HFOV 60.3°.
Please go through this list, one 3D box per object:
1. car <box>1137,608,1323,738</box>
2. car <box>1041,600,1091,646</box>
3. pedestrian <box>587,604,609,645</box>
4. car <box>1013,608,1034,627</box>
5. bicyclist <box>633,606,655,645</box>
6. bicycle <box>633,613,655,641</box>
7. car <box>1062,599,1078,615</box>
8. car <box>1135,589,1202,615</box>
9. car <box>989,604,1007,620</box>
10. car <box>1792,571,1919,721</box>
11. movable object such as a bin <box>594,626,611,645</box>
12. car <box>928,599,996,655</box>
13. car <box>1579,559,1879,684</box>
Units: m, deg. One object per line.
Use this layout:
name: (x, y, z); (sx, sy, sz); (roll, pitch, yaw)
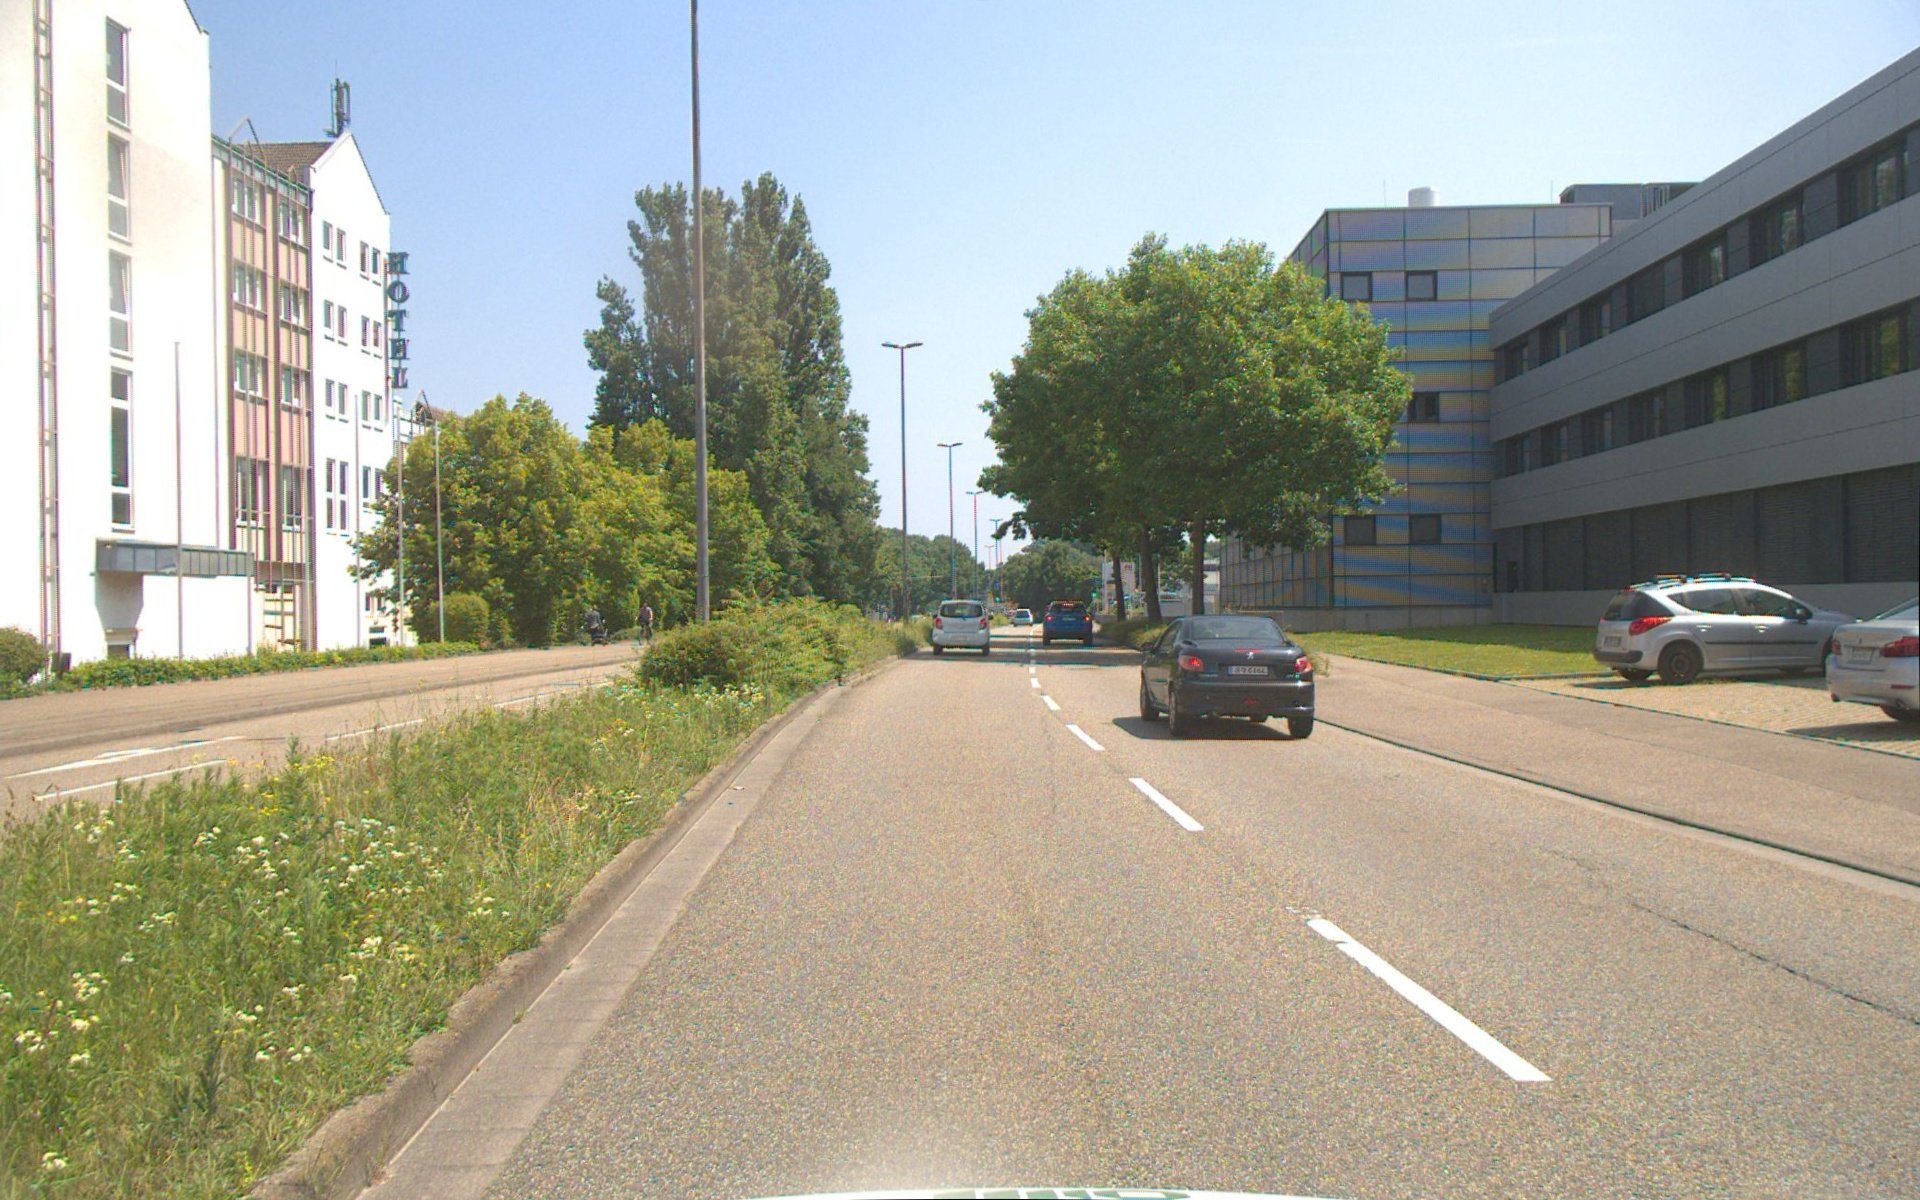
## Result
car: (3.181, 0.816, 20.101); (1.594, 1.388, 3.604); (0, 0, -2)
car: (3.948, 0.830, 61.518); (1.789, 1.608, 3.607); (-1, 0, 4)
pedestrian: (-13.931, 0.949, 63.618); (0.619, 1.572, 0.727); (-1, -1, 2)
car: (5.723, 1.581, 149.289); (1.782, 1.691, 4.001); (-1, 0, 1)
bicyclist: (-12.653, 1.023, 66.247); (0.703, 1.542, 1.026); (-1, 0, -1)
bicycle: (-12.658, 1.082, 66.290); (0.539, 1.092, 2.062); (0, 0, -1)
car: (14.984, 0.948, 225.319); (1.734, 2.049, 3.990); (-1, 0, -1)
car: (14.389, 0.136, 114.420); (4.406, 1.610, 2.000); (-2, -1, 2)
car: (4.273, 1.389, 186.304); (1.783, 1.691, 3.999); (-1, 1, -2)
car: (11.179, 0.376, 16.743); (4.520, 1.414, 1.999); (-1, 0, -2)
movable object such as a bin: (-13.662, 1.365, 63.221); (0.419, 0.718, 0.653); (-2, -1, 11)
car: (0.101, 0.743, 47.761); (1.711, 1.546, 3.747); (0, 0, 4)
car: (11.751, 0.314, 25.436); (3.736, 1.619, 1.732); (-4, 0, -2)
